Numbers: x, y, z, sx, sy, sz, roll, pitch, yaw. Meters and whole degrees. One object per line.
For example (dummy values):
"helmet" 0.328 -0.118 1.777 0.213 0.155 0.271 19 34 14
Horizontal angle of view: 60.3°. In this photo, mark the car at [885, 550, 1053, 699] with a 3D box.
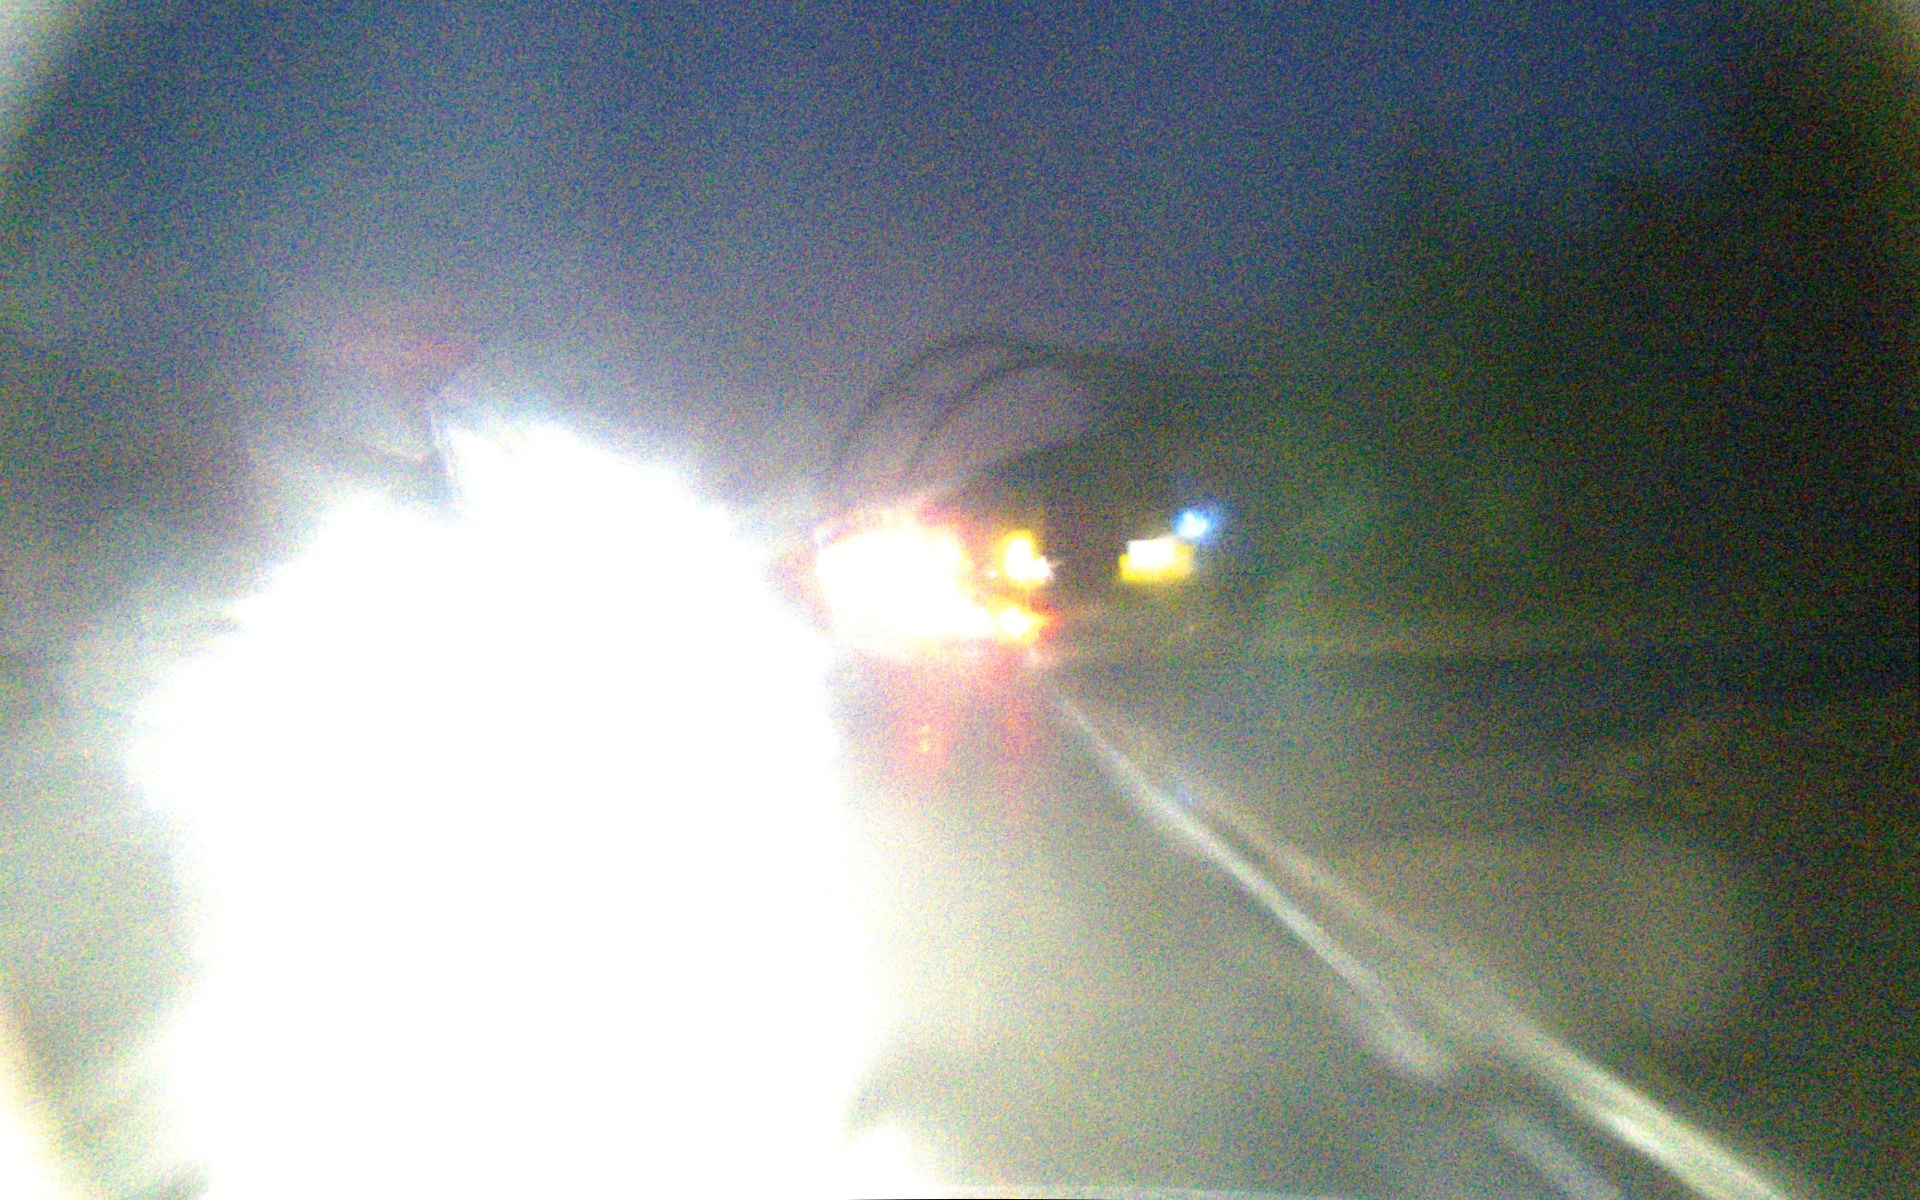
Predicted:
"car" 0.165 0.343 29.566 2.659 2.348 6.101 1 1 0

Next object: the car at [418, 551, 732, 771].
"car" -3.233 0.472 14.746 1.851 1.666 4.155 -1 0 -1
